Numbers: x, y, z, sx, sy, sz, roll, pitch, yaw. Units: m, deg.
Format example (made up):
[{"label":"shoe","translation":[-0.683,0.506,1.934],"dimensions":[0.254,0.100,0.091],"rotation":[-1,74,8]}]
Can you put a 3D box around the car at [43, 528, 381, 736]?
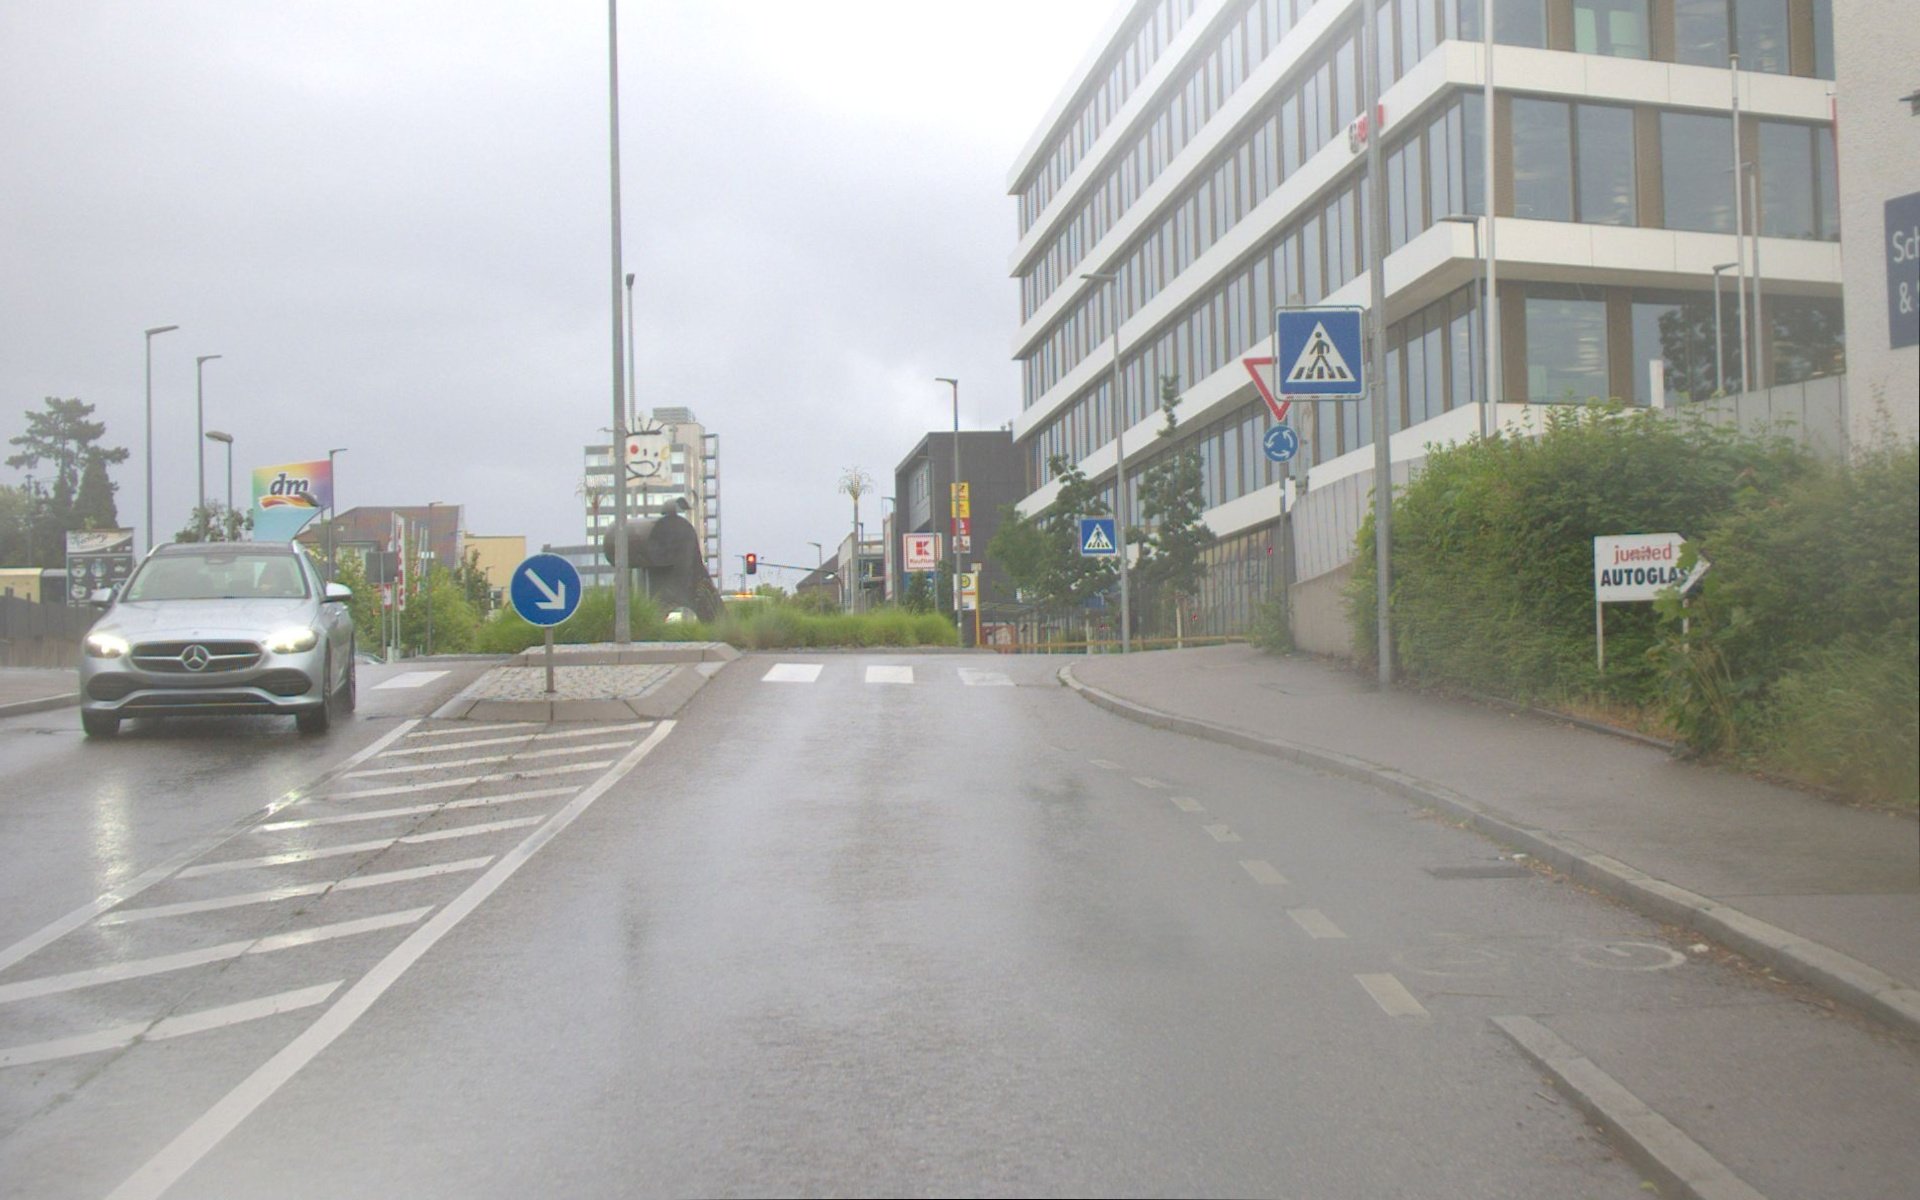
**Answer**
[{"label":"car","translation":[-5.829,0.180,27.342],"dimensions":[2.001,1.421,4.782],"rotation":[-1,2,-5]}]

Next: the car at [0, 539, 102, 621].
[{"label":"car","translation":[-23.529,-0.539,88.557],"dimensions":[1.993,2.007,5.001],"rotation":[-1,1,-5]}]

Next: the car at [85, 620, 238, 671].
[{"label":"car","translation":[-22.923,1.317,98.714],"dimensions":[4.020,1.415,1.769],"rotation":[0,-2,-24]}]
